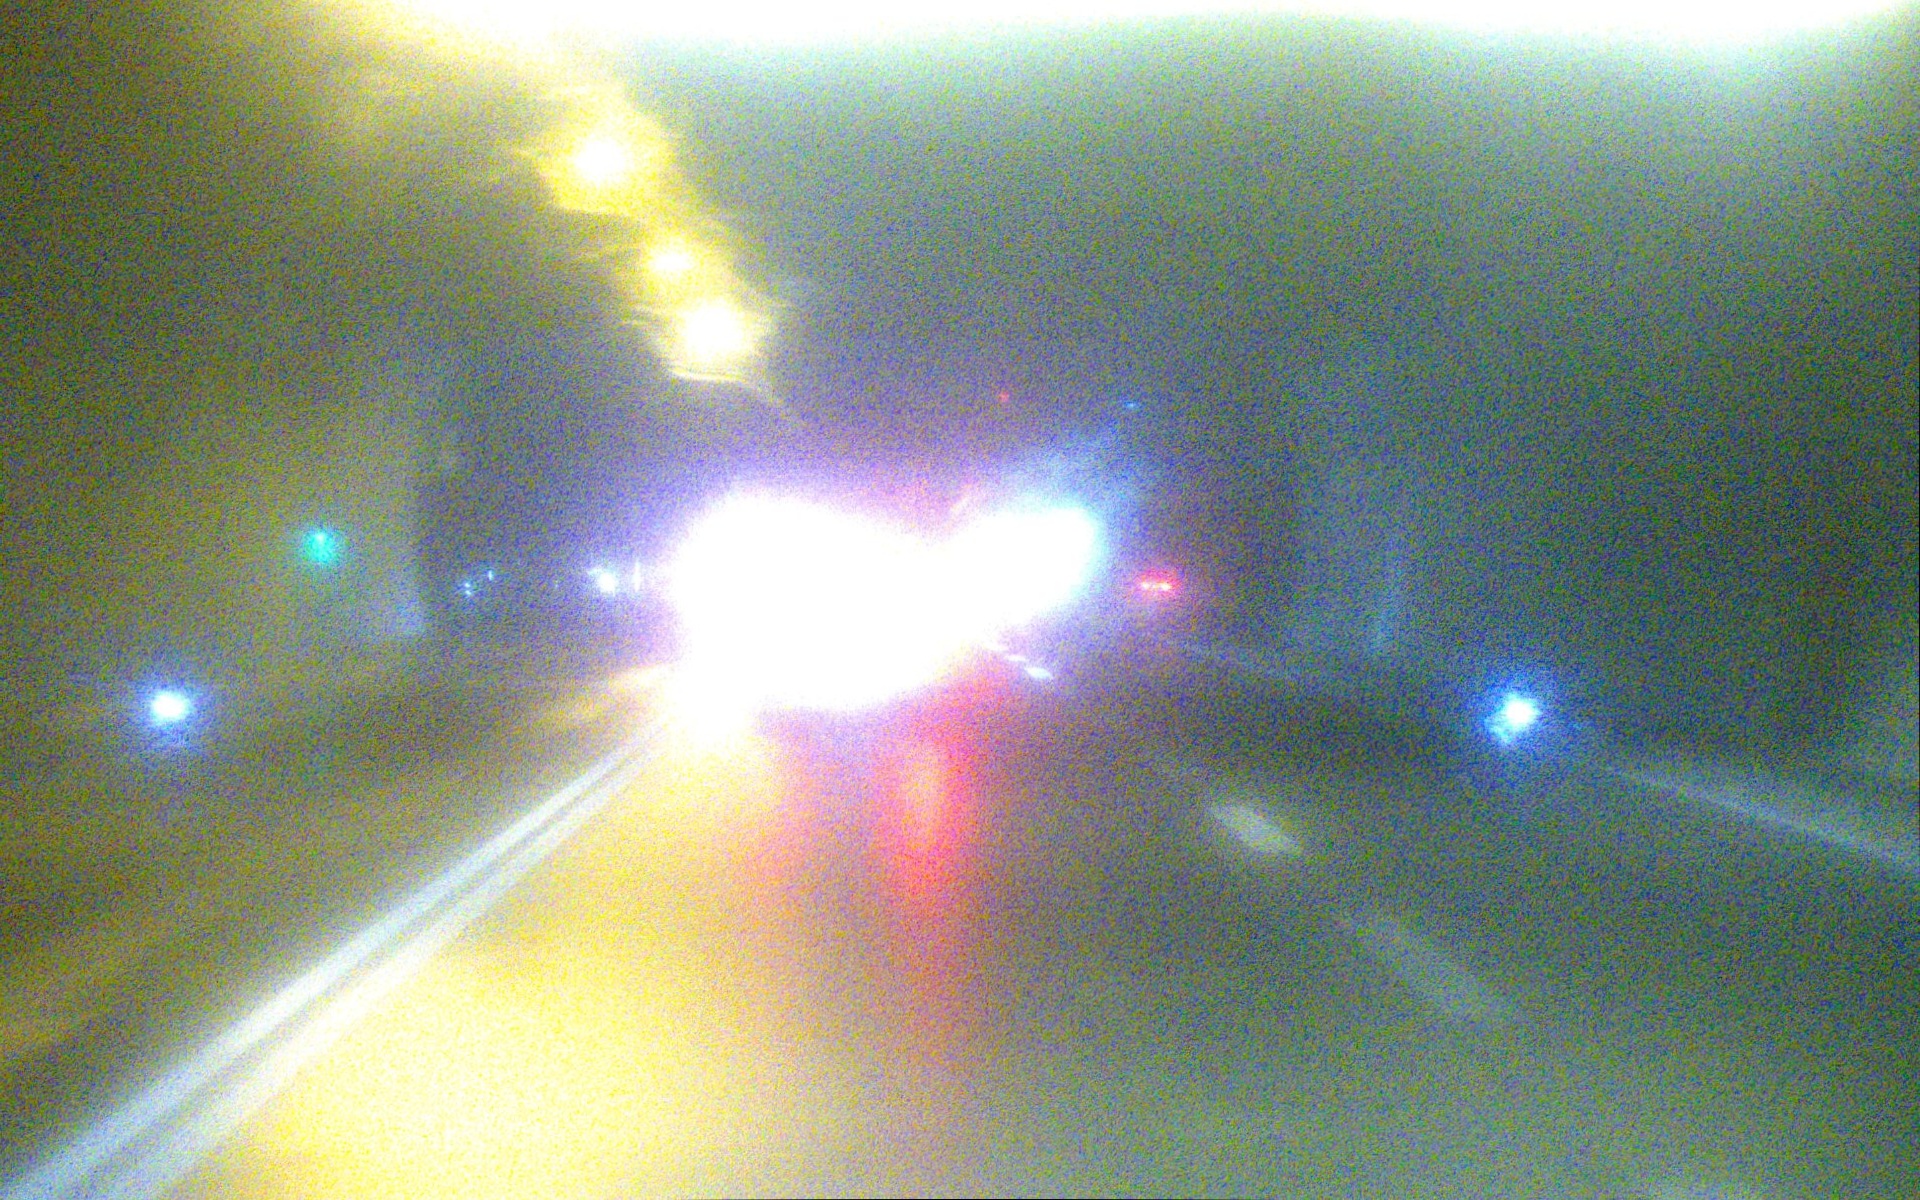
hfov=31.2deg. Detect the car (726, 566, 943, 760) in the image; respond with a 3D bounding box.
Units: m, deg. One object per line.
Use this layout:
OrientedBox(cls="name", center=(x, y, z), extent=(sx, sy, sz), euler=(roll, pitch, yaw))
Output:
OrientedBox(cls="car", center=(-1.080, 0.524, 31.059), extent=(1.808, 1.616, 4.000), euler=(1, 0, 0))
